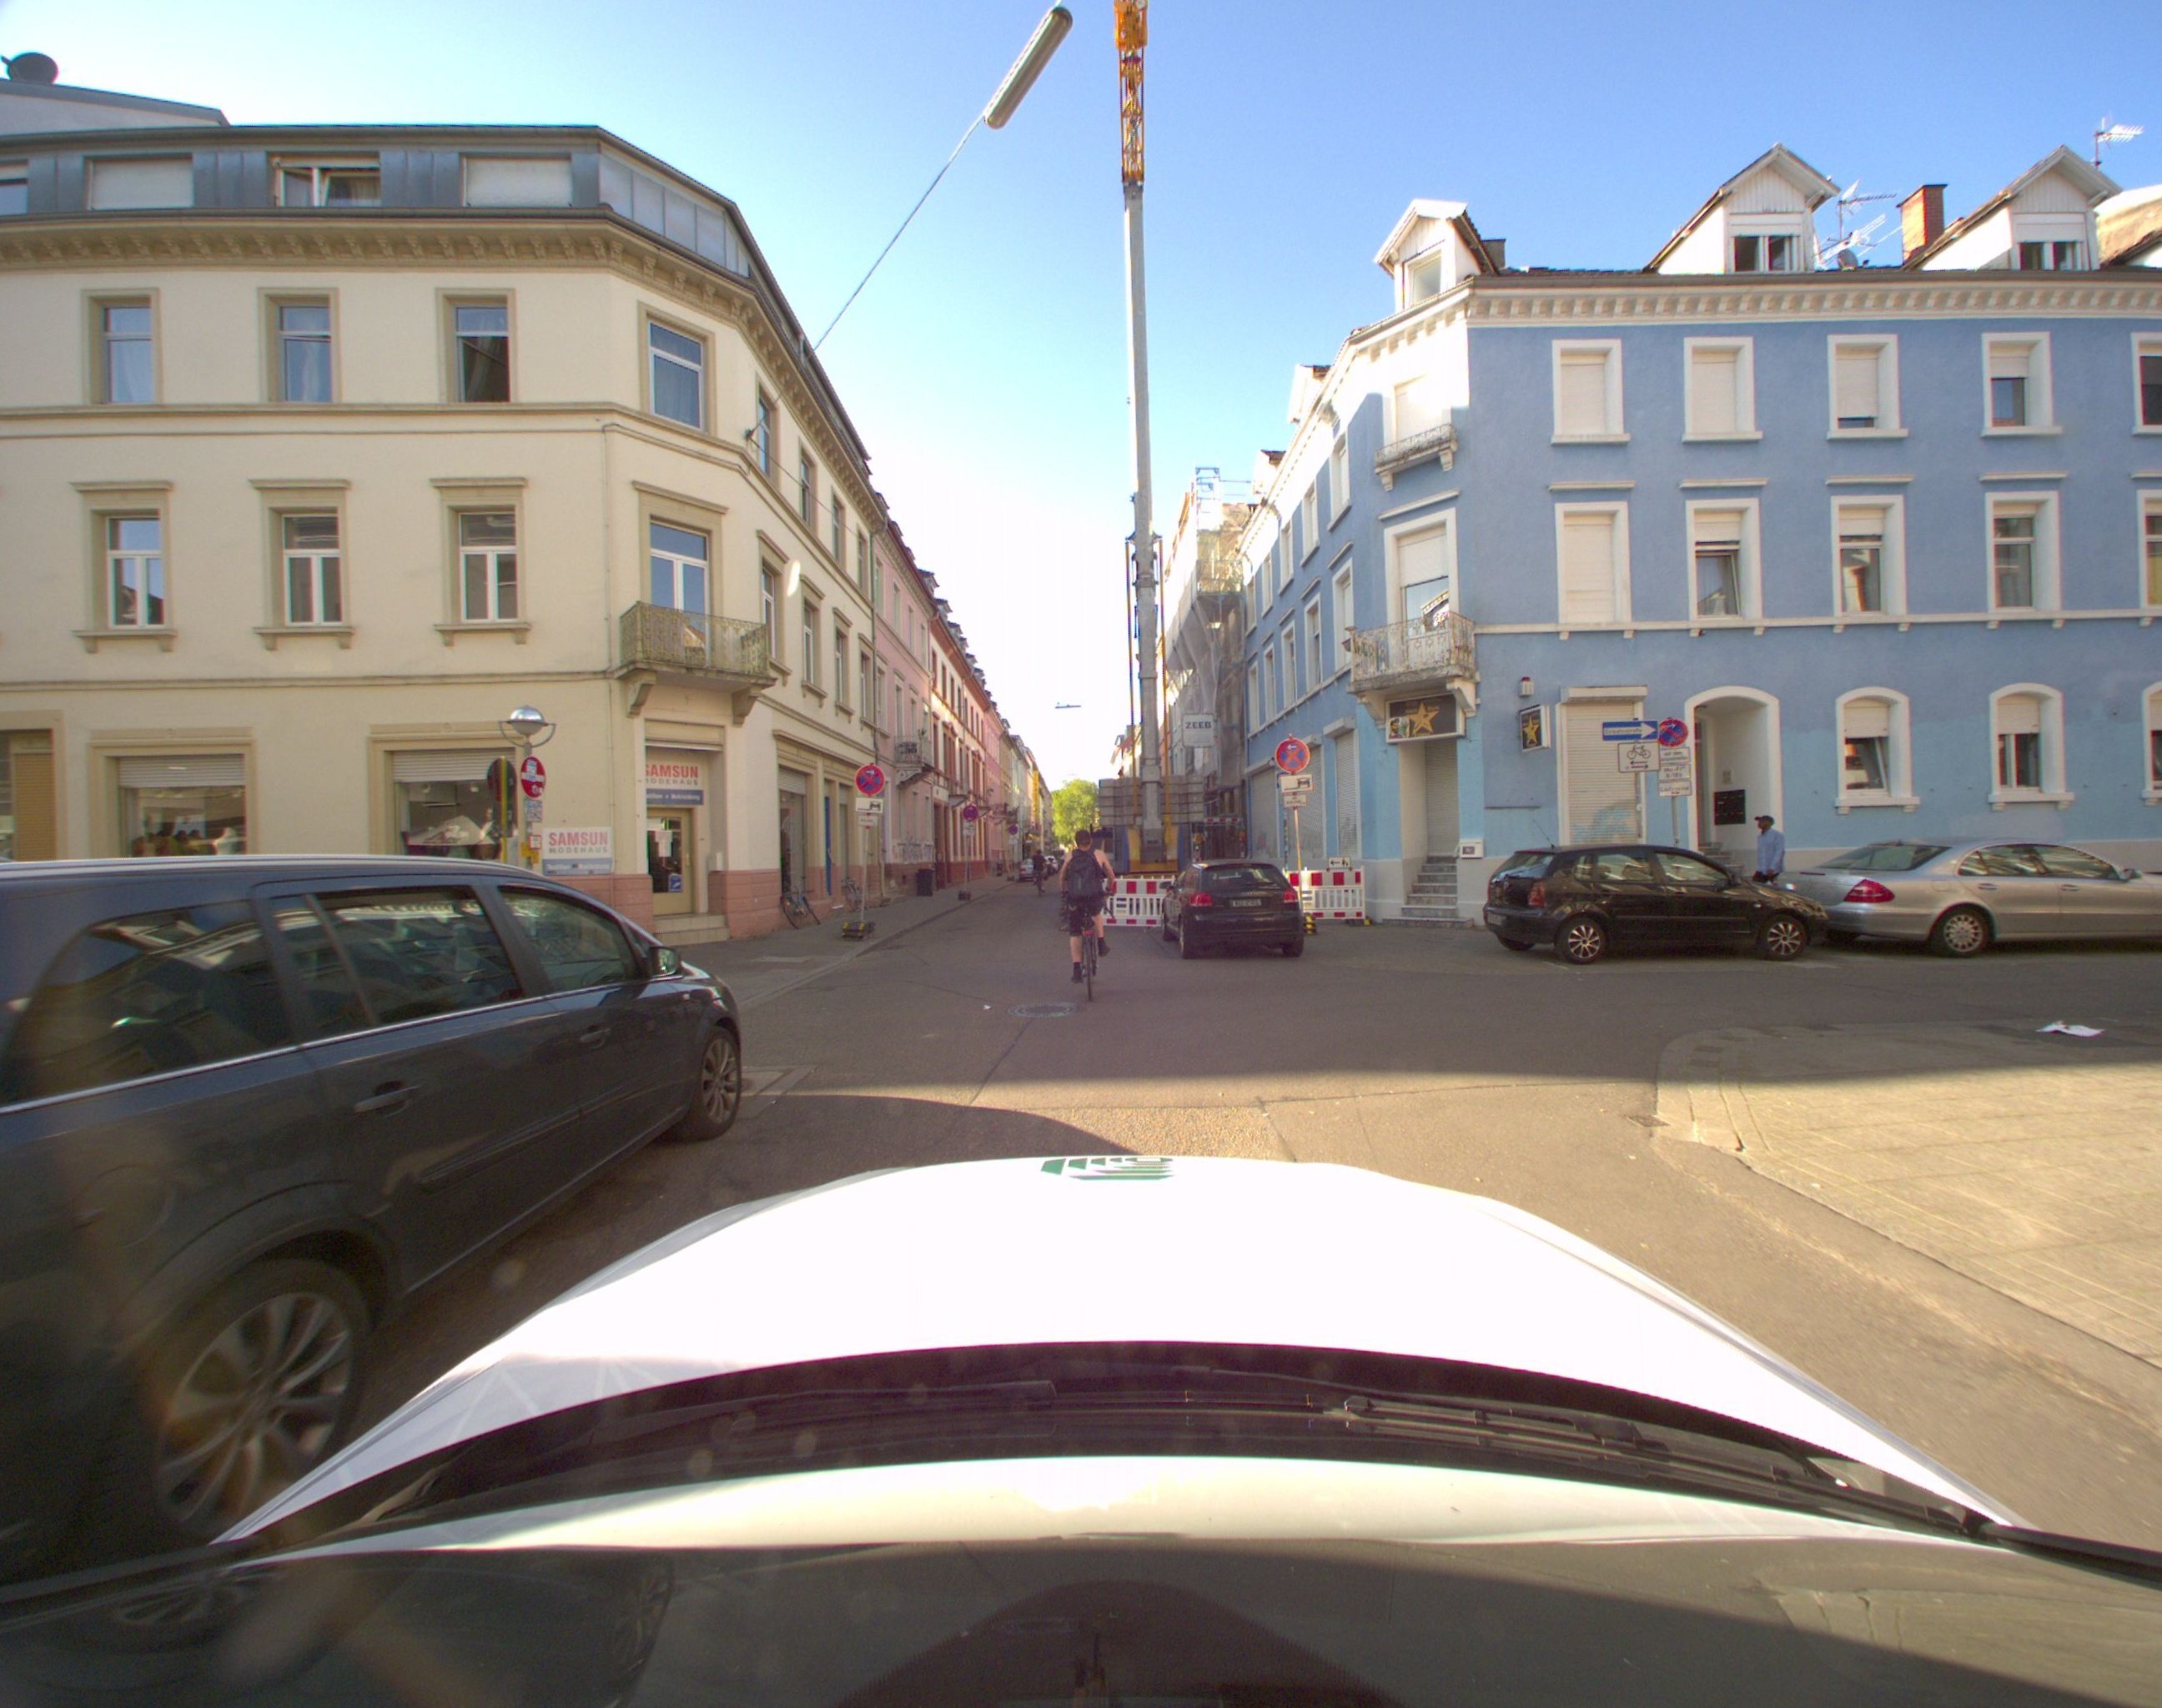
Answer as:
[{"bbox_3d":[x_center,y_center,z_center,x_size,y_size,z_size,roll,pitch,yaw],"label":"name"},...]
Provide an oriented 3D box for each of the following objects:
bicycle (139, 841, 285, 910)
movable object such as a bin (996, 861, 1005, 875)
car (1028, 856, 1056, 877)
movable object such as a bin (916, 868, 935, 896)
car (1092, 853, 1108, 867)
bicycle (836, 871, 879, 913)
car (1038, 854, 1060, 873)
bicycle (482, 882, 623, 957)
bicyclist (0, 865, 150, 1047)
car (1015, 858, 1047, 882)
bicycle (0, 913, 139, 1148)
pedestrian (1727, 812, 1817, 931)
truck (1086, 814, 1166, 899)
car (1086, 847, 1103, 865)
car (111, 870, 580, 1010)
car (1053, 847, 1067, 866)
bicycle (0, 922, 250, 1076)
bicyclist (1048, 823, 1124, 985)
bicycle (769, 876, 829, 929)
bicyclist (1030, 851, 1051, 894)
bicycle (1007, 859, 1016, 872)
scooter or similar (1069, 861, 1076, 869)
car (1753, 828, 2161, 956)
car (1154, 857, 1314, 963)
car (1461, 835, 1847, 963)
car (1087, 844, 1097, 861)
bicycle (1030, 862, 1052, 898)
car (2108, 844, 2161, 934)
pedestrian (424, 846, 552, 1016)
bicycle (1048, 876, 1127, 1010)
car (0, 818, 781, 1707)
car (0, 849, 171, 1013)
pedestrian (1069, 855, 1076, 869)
[{"bbox_3d":[-14.587,0.363,13.691,1.912,1.122,0.613,-1,-1,5],"label":"bicycle"},{"bbox_3d":[-5.754,1.000,58.139,0.542,0.945,0.487,0,-1,0],"label":"movable object such as a bin"},{"bbox_3d":[-2.982,0.951,63.095,1.704,1.383,4.358,-2,1,2],"label":"car"},{"bbox_3d":[-5.839,1.043,30.609,0.604,1.035,0.596,0,-1,-2],"label":"movable object such as a bin"},{"bbox_3d":[2.204,0.683,96.108,1.616,1.550,3.999,-4,0,0],"label":"car"},{"bbox_3d":[-6.008,0.996,21.959,0.620,1.022,1.818,1,0,0],"label":"bicycle"},{"bbox_3d":[-2.691,0.810,69.738,1.667,1.441,4.164,-4,0,0],"label":"car"},{"bbox_3d":[-8.444,1.034,13.051,1.912,1.149,0.613,-1,-1,5],"label":"bicycle"},{"bbox_3d":[-8.665,0.827,6.882,0.790,1.436,0.705,-2,0,-22],"label":"bicyclist"},{"bbox_3d":[-3.169,1.005,52.073,1.705,1.383,4.504,-4,0,0],"label":"car"},{"bbox_3d":[-7.733,1.121,5.131,2.467,1.359,0.928,-2,0,0],"label":"bicycle"},{"bbox_3d":[11.140,0.277,13.155,0.767,1.849,0.780,0,-1,-1],"label":"pedestrian"},{"bbox_3d":[1.514,0.108,30.912,2.653,2.814,7.392,0,0,0],"label":"truck"},{"bbox_3d":[2.126,0.296,128.139,2.301,2.538,6.767,-4,0,0],"label":"car"},{"bbox_3d":[-8.934,0.990,10.204,4.129,1.455,1.757,-1,0,-3],"label":"car"},{"bbox_3d":[-3.054,0.363,117.118,1.905,2.496,4.161,-3,0,-2],"label":"car"},{"bbox_3d":[-8.556,1.219,6.928,1.936,1.111,0.705,-2,0,-22],"label":"bicycle"},{"bbox_3d":[0.048,0.515,8.919,0.700,1.633,1.090,-3,-1,0],"label":"bicyclist"},{"bbox_3d":[-5.979,1.007,17.356,0.601,1.022,1.818,2,-1,0],"label":"bicycle"},{"bbox_3d":[-1.544,0.699,31.137,0.700,1.605,0.812,-3,1,-1],"label":"bicyclist"},{"bbox_3d":[-6.102,0.975,71.281,0.590,1.089,2.078,0,-1,0],"label":"bicycle"},{"bbox_3d":[-1.037,1.306,97.046,0.768,0.873,0.770,0,-1,-2],"label":"scooter or similar"},{"bbox_3d":[11.708,0.431,10.611,4.453,1.434,1.758,-1,2,1],"label":"car"},{"bbox_3d":[2.291,0.772,13.207,1.766,1.434,4.032,-1,0,-1],"label":"car"},{"bbox_3d":[7.262,0.534,10.589,3.855,1.453,1.676,-1,0,-1],"label":"car"},{"bbox_3d":[2.716,-0.346,201.420,2.301,3.767,6.767,-4,0,0],"label":"car"},{"bbox_3d":[-1.528,0.972,31.325,0.700,1.207,2.341,-3,1,-1],"label":"bicycle"},{"bbox_3d":[16.794,0.433,10.812,4.138,1.228,1.756,-1,-1,0],"label":"car"},{"bbox_3d":[-6.381,0.794,8.809,0.691,1.701,0.865,3,2,-1],"label":"pedestrian"},{"bbox_3d":[0.067,0.884,9.013,0.700,1.208,2.341,-3,0,0],"label":"bicycle"},{"bbox_3d":[-2.734,0.775,3.048,1.717,1.605,4.163,-3,0,-2],"label":"car"},{"bbox_3d":[-14.755,0.916,9.837,5.076,1.850,1.854,-1,0,-5],"label":"car"},{"bbox_3d":[-1.054,0.966,97.504,0.768,1.578,0.900,0,-1,-2],"label":"pedestrian"}]
